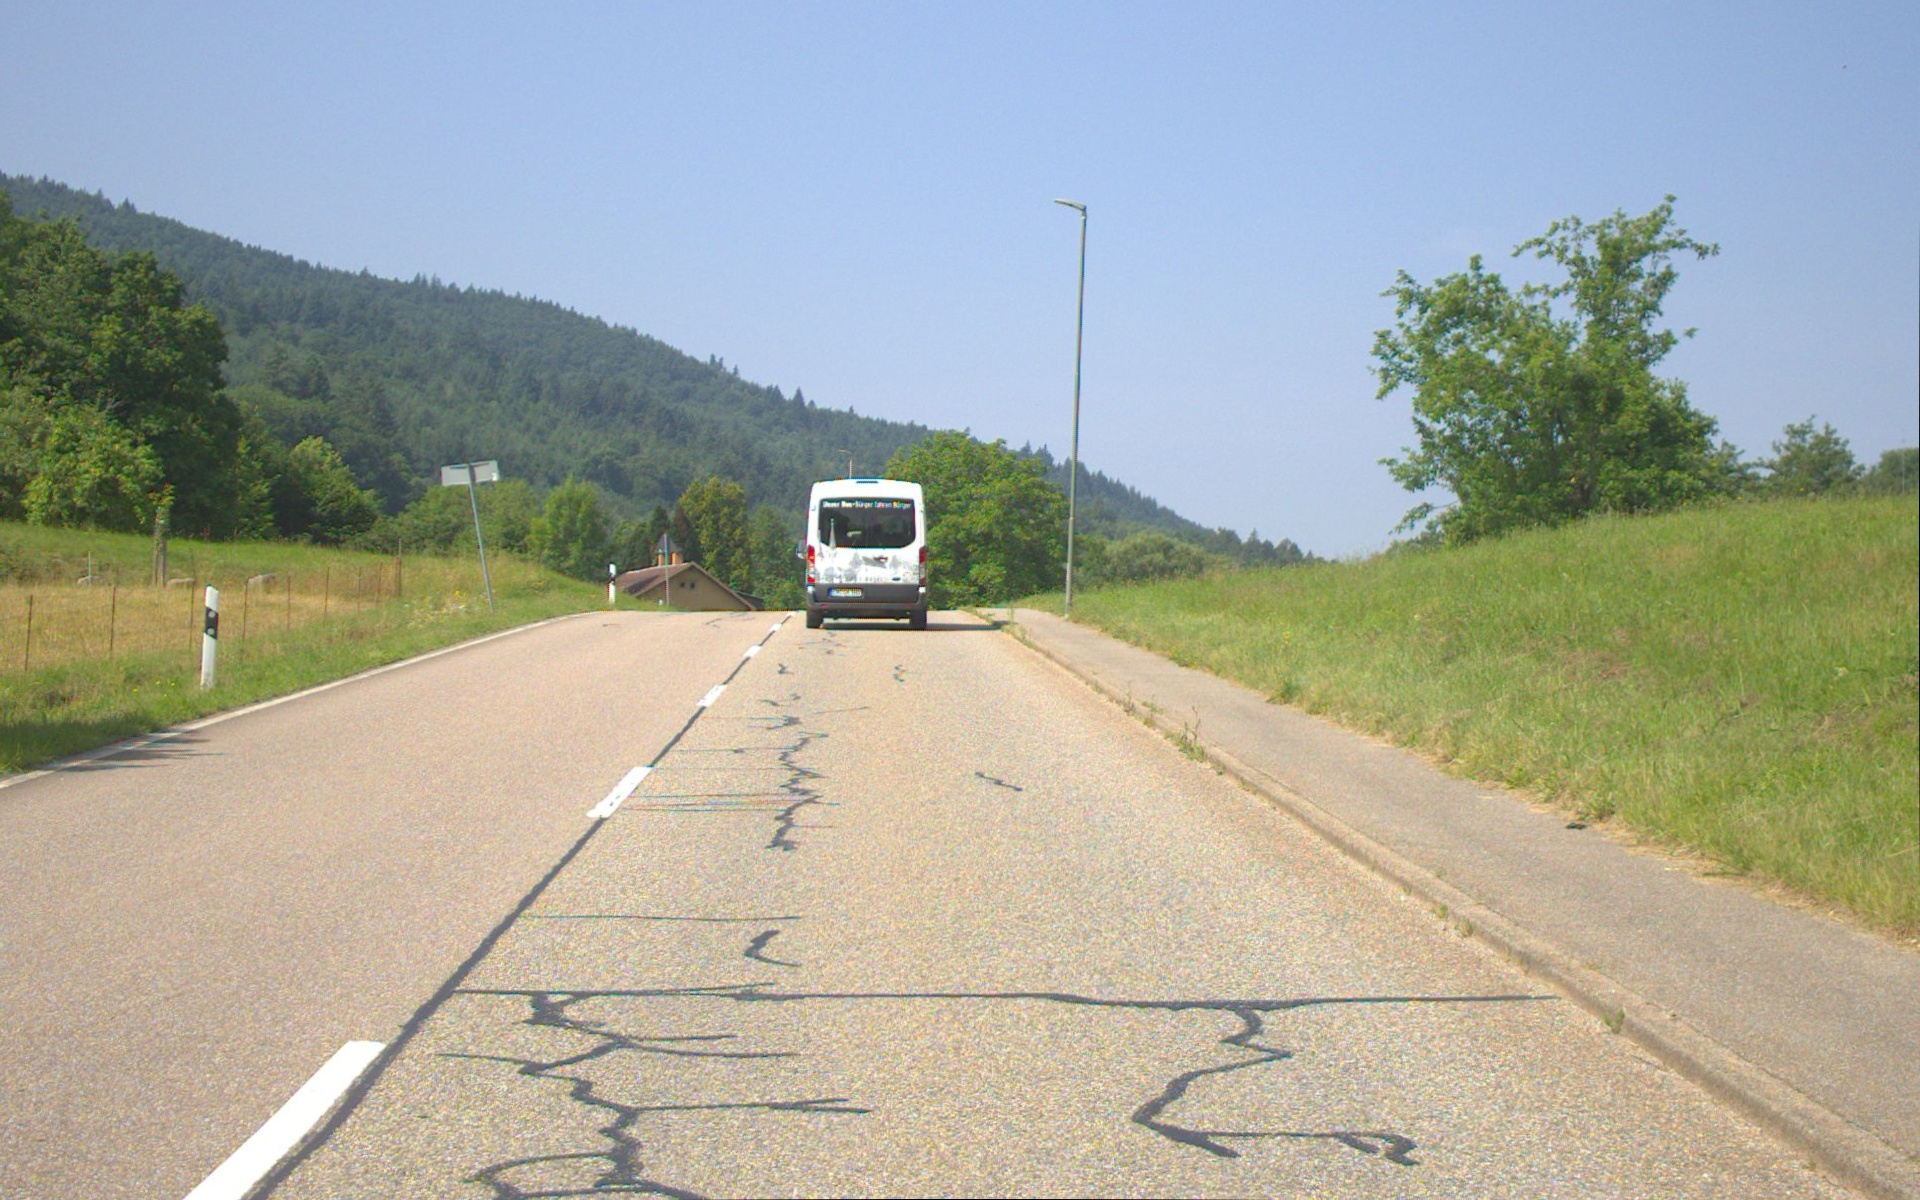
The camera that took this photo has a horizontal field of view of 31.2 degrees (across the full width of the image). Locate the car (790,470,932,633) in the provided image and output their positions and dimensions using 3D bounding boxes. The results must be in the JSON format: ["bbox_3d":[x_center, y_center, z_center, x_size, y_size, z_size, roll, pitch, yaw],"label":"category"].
[{"bbox_3d":[-1.676,-0.762,58.097,2.222,2.517,4.984,-2,-1,-2],"label":"car"}]
